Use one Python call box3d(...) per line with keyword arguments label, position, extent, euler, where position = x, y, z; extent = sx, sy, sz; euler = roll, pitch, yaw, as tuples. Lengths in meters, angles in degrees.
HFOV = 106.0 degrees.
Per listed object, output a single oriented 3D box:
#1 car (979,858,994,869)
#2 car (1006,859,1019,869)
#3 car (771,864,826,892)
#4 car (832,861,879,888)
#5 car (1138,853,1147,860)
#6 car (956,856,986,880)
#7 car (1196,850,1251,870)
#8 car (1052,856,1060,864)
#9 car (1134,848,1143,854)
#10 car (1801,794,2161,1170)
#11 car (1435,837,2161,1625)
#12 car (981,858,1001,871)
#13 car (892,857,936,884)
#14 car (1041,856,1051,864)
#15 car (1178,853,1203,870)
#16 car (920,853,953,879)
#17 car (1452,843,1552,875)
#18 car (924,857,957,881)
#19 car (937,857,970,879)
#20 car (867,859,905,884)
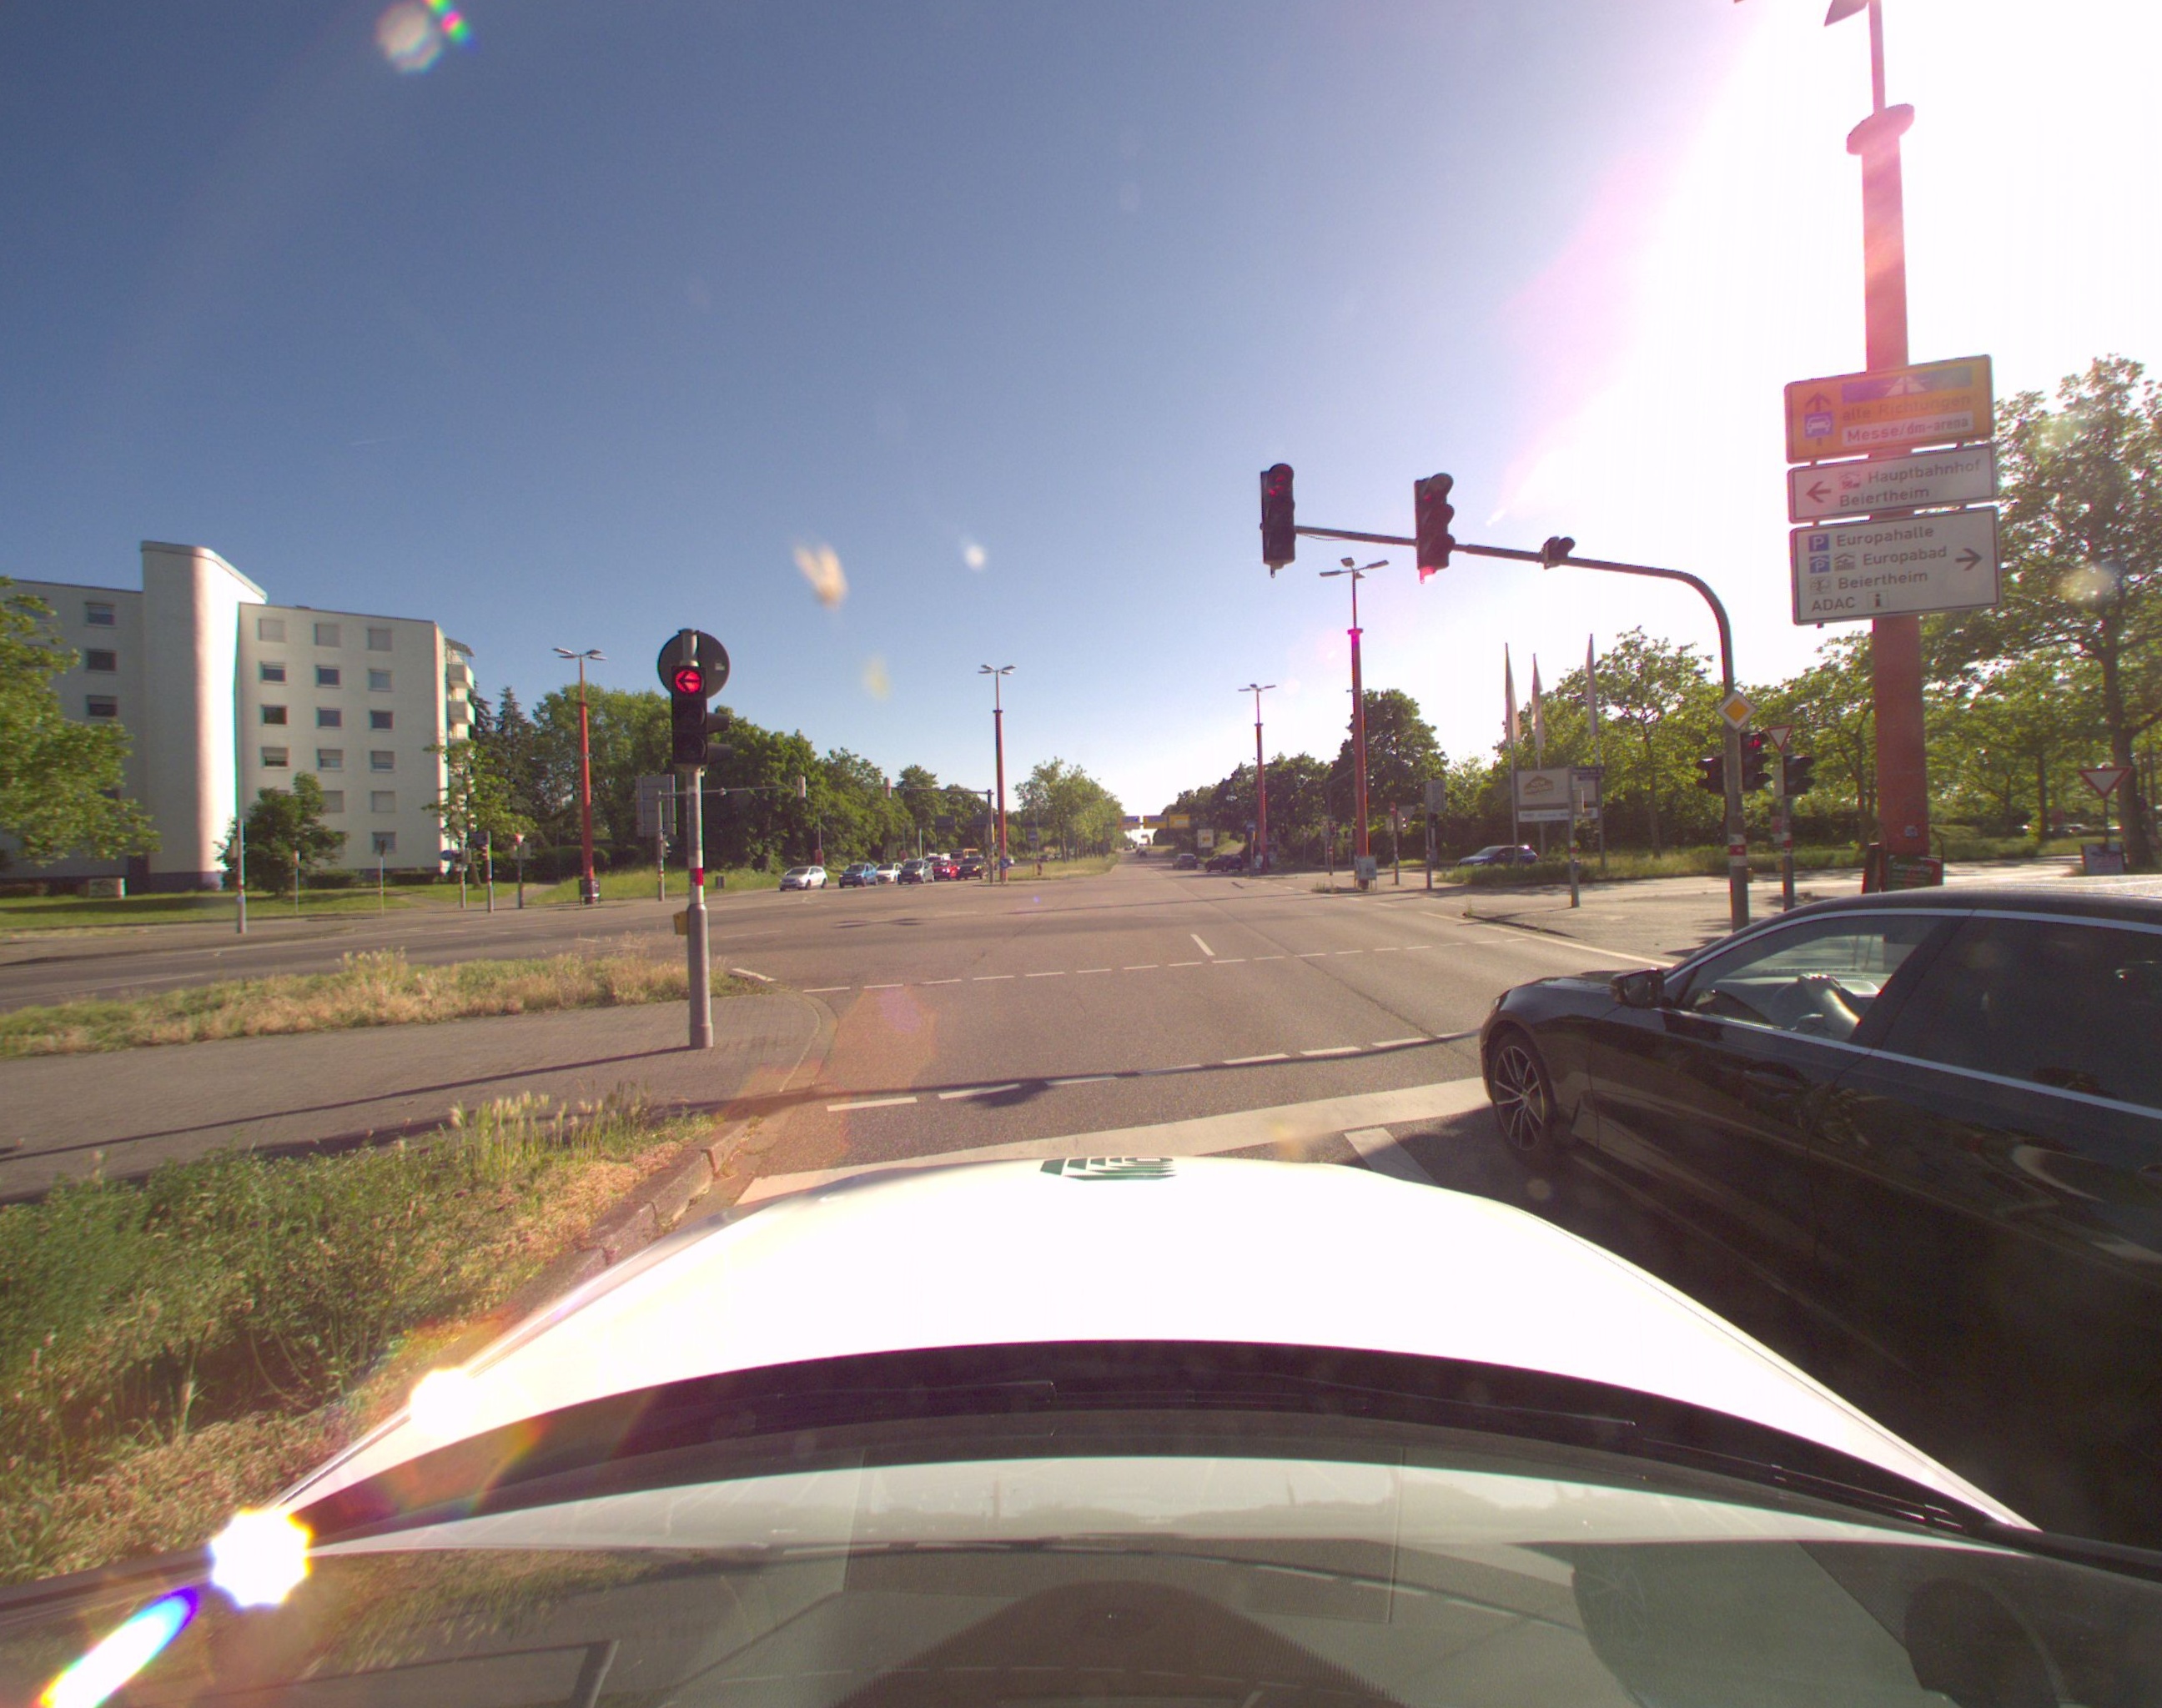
box3d(label="car", position=(-14.578, 1.488, 125.478), extent=(1.872, 1.573, 4.117), euler=(-2, 0, -2))
box3d(label="car", position=(-11.570, 1.695, 137.691), extent=(1.872, 1.573, 3.943), euler=(-2, 0, -2))
box3d(label="car", position=(-17.692, 1.465, 51.182), extent=(1.987, 1.573, 4.120), euler=(-2, 0, 0))
box3d(label="car", position=(-14.235, 1.282, 51.642), extent=(1.989, 1.573, 4.116), euler=(-2, 0, -3))
box3d(label="car", position=(14.823, 0.512, 195.528), extent=(2.149, 1.573, 4.285), euler=(-2, 0, 4))
box3d(label="car", position=(-7.565, 0.937, 56.490), extent=(1.874, 1.573, 4.112), euler=(-2, 0, -6))
box3d(label="car", position=(11.772, 0.494, 67.424), extent=(2.174, 1.573, 4.237), euler=(-2, 0, -32))
box3d(label="car", position=(-5.882, 1.346, 191.657), extent=(1.892, 1.771, 3.849), euler=(-2, 0, 0))
box3d(label="car", position=(16.916, -0.957, 240.245), extent=(2.153, 1.573, 4.277), euler=(-2, 0, -2))
box3d(label="car", position=(5.799, 0.560, 3.262), extent=(1.959, 1.686, 4.479), euler=(-1, 0, 2))
box3d(label="car", position=(2.952, 0.665, 2.373), extent=(1.986, 1.394, 4.479), euler=(-2, 0, 2))
box3d(label="car", position=(-11.179, 1.273, 101.280), extent=(1.814, 1.454, 3.658), euler=(-2, 0, 2))
box3d(label="car", position=(-10.731, 1.044, 52.581), extent=(1.988, 1.573, 4.119), euler=(-2, 0, -1))
box3d(label="car", position=(-7.107, 1.157, 164.159), extent=(1.872, 1.573, 4.117), euler=(-2, 0, -2))
box3d(label="car", position=(10.964, 0.728, 81.637), extent=(2.149, 1.573, 4.588), euler=(-2, 0, 4))
box3d(label="car", position=(-12.733, 1.051, 71.987), extent=(2.055, 2.193, 4.377), euler=(-2, 0, 0))
box3d(label="car", position=(20.807, 0.232, 40.274), extent=(4.276, 1.428, 1.874), euler=(-2, 0, -16))
box3d(label="car", position=(-10.102, 1.045, 58.872), extent=(1.991, 1.573, 4.112), euler=(-2, 0, -6))
box3d(label="car", position=(-10.064, 1.091, 64.654), extent=(1.988, 1.573, 4.118), euler=(-2, 0, -1))
box3d(label="car", position=(-13.737, 1.214, 57.524), extent=(1.991, 1.573, 4.112), euler=(-3, 0, -6))
